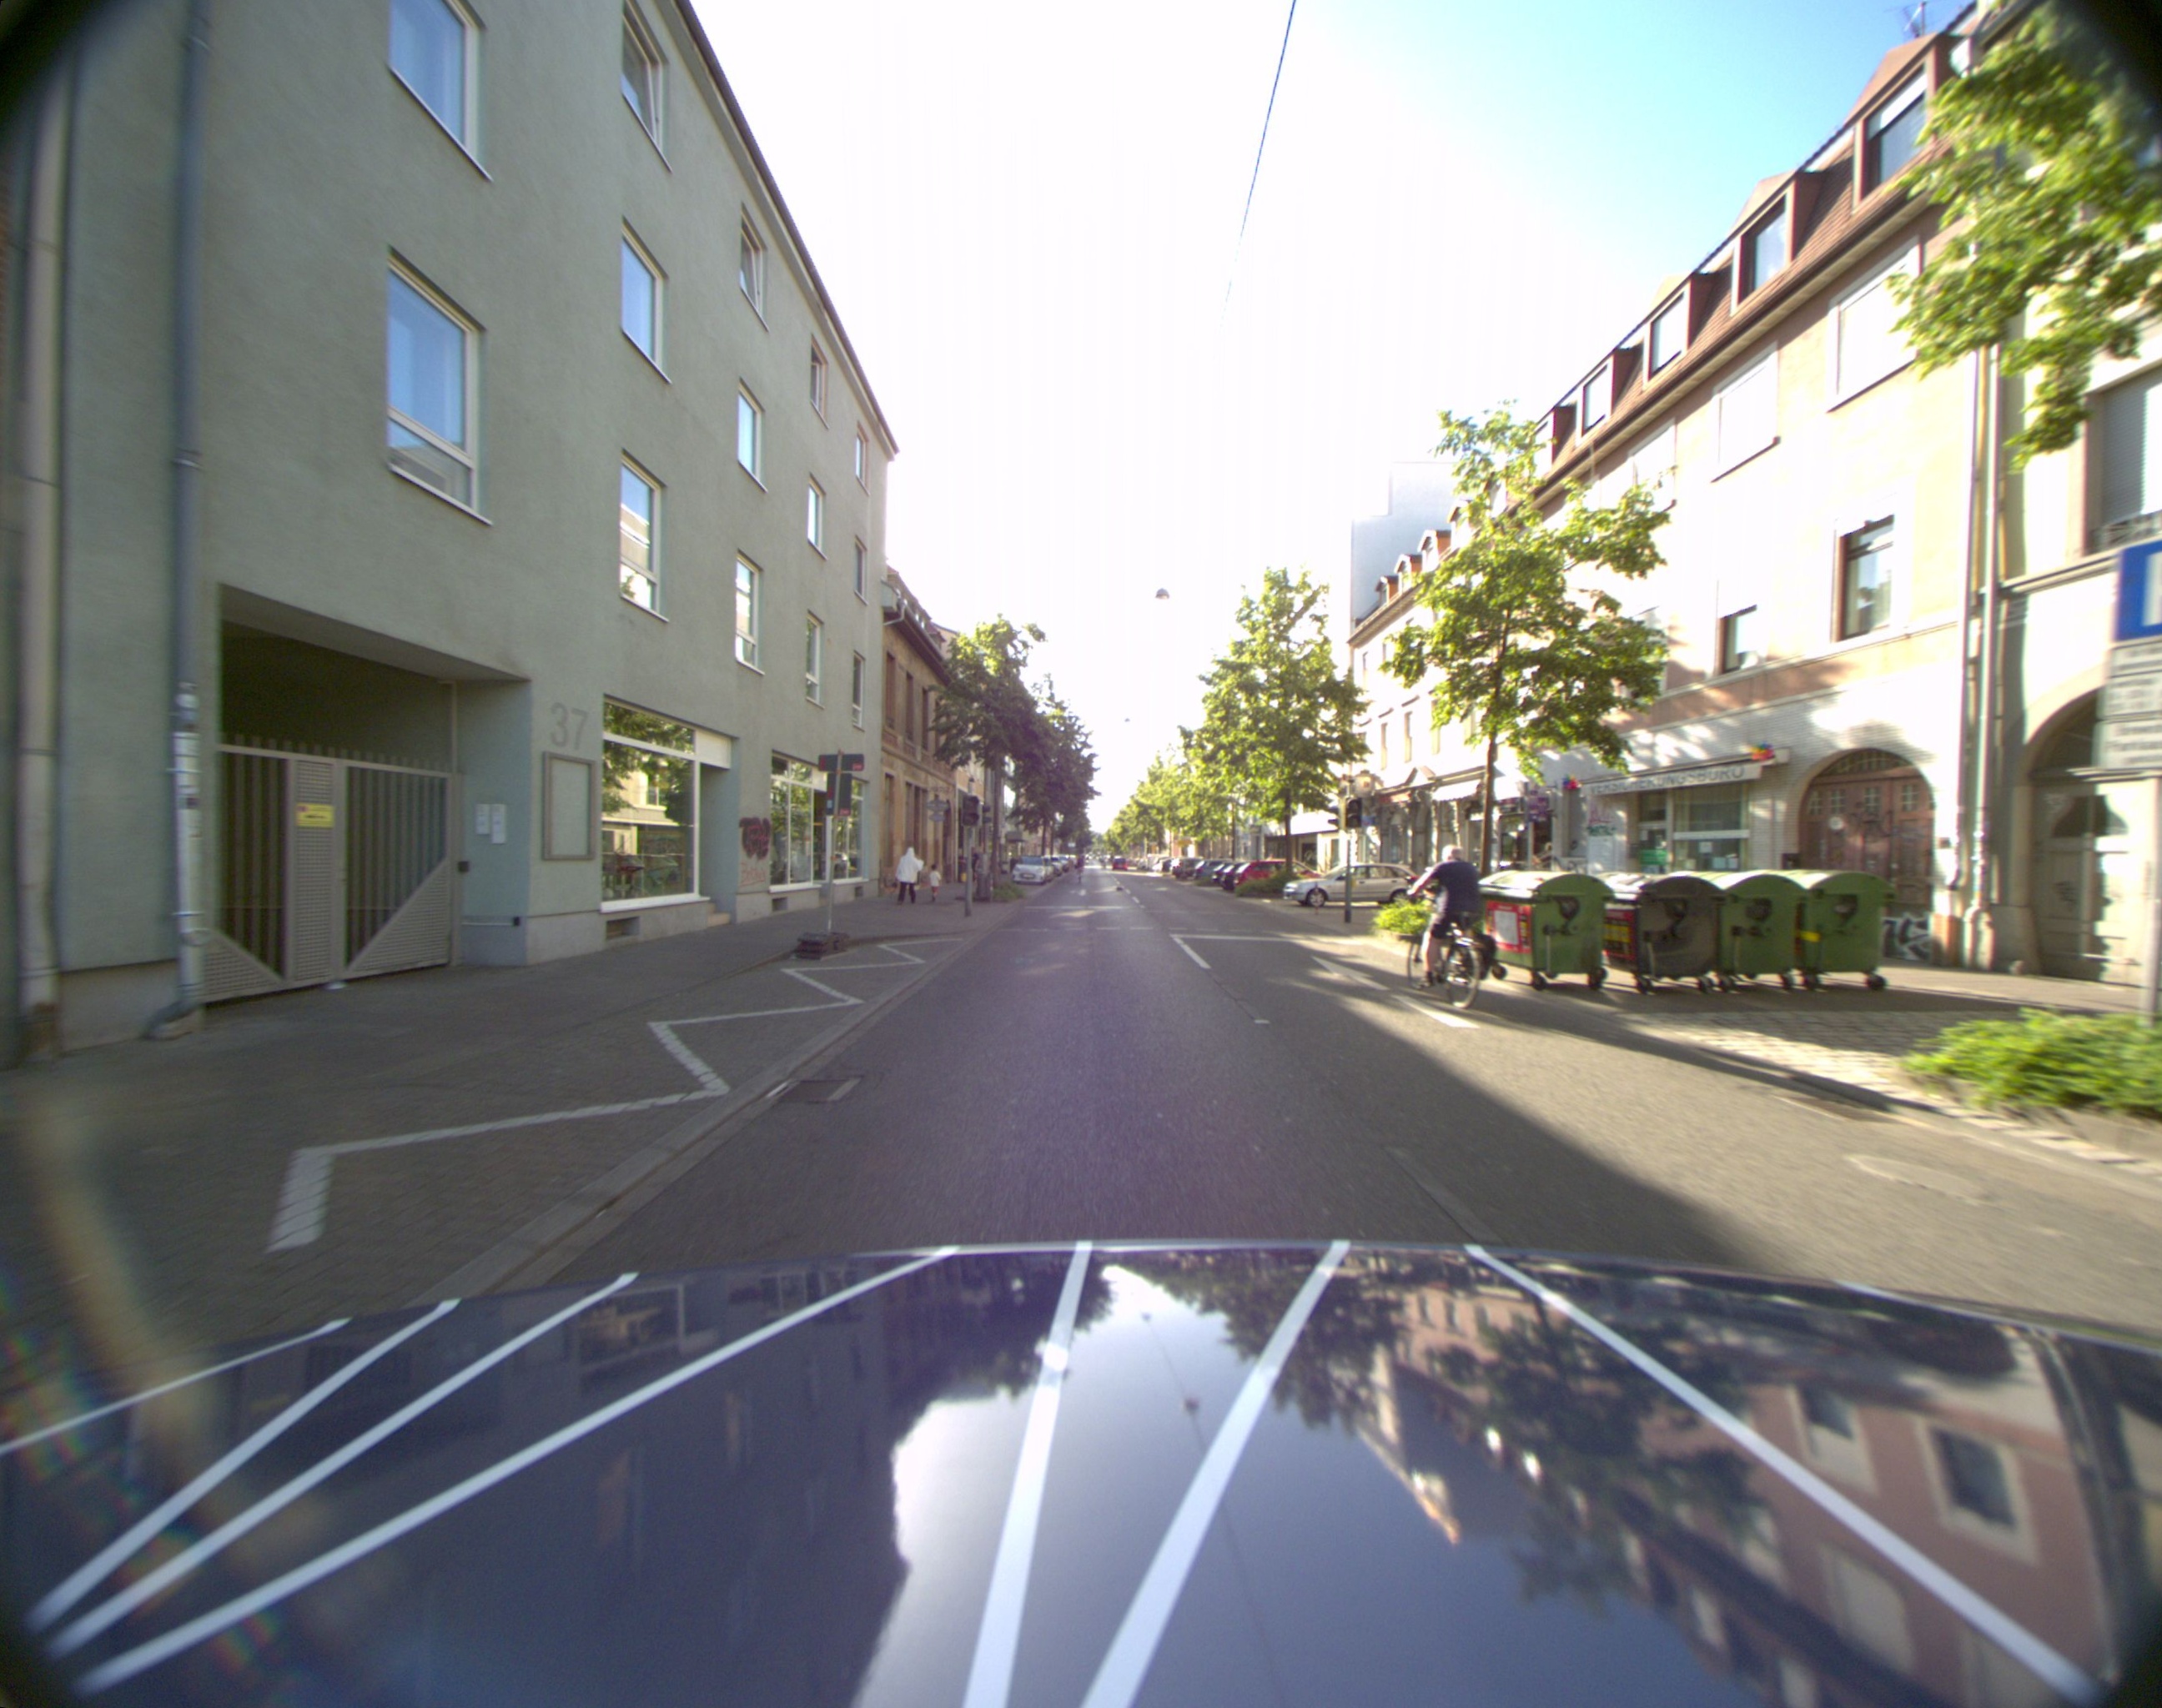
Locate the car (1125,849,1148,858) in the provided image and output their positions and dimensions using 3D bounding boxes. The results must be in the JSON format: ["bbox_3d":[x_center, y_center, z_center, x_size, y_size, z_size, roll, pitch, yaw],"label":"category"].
[{"bbox_3d":[10.183,-0.155,139.552,4.134,1.670,2.000,0,1,0],"label":"car"}]

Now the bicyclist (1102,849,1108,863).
[{"bbox_3d":[3.015,0.225,94.246,0.727,1.690,1.282,0,1,1],"label":"bicyclist"}]

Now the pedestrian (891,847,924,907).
[{"bbox_3d":[-4.654,0.594,20.461,0.582,1.550,1.020,3,1,0],"label":"pedestrian"}]

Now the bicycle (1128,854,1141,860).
[{"bbox_3d":[8.482,0.456,120.683,2.006,1.023,0.473,-1,1,-12],"label":"bicycle"}]

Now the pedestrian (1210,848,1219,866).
[{"bbox_3d":[11.952,0.270,67.894,0.566,1.617,0.727,-4,1,-1],"label":"pedestrian"}]

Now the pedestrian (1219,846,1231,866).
[{"bbox_3d":[12.841,0.145,67.909,0.776,1.756,0.763,-4,1,-1],"label":"pedestrian"}]

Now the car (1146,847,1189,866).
[{"bbox_3d":[8.759,0.261,77.293,4.115,1.825,2.038,-1,0,1],"label":"car"}]

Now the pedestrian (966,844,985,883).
[{"bbox_3d":[-4.813,0.432,34.713,0.624,1.755,0.771,3,1,2],"label":"pedestrian"}]

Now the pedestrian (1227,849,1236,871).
[{"bbox_3d":[12.738,0.499,64.286,0.700,1.787,0.746,0,1,12],"label":"pedestrian"}]

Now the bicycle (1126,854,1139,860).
[{"bbox_3d":[8.274,0.466,121.598,2.006,1.023,0.473,-1,1,-12],"label":"bicycle"}]

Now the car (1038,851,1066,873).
[{"bbox_3d":[-2.179,0.587,58.518,1.887,1.518,4.233,3,0,0],"label":"car"}]

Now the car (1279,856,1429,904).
[{"bbox_3d":[8.673,0.821,24.424,4.212,1.460,1.740,0,0,3],"label":"car"}]

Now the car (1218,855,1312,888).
[{"bbox_3d":[8.278,0.787,34.449,3.850,1.420,1.790,0,0,2],"label":"car"}]

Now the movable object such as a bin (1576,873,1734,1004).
[{"bbox_3d":[7.009,0.992,9.358,1.045,1.463,1.143,1,1,0],"label":"movable object such as a bin"}]

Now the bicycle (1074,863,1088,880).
[{"bbox_3d":[-0.014,1.032,45.861,0.805,0.958,1.996,-1,0,0],"label":"bicycle"}]

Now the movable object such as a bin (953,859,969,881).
[{"bbox_3d":[-5.737,0.765,36.342,0.590,1.034,0.722,3,1,2],"label":"movable object such as a bin"}]

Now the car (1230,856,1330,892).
[{"bbox_3d":[8.292,0.811,31.896,3.757,1.460,1.739,0,0,1],"label":"car"}]

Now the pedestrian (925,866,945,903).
[{"bbox_3d":[-4.291,0.882,22.331,0.394,1.027,0.739,3,1,0],"label":"pedestrian"}]

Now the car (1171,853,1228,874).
[{"bbox_3d":[8.455,0.674,54.336,3.790,1.450,1.780,0,0,-2],"label":"car"}]

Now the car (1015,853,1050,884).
[{"bbox_3d":[-2.527,0.736,40.400,1.618,1.520,3.060,2,1,0],"label":"car"}]

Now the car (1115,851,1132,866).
[{"bbox_3d":[4.567,0.519,82.128,1.662,1.526,3.760,2,0,1],"label":"car"}]

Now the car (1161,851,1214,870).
[{"bbox_3d":[9.209,0.561,65.845,4.377,1.561,1.980,0,0,1],"label":"car"}]

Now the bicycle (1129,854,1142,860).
[{"bbox_3d":[8.590,0.469,120.195,2.006,1.023,0.473,-1,1,-12],"label":"bicycle"}]

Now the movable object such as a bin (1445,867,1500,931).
[{"bbox_3d":[8.499,0.953,16.509,0.756,1.333,0.805,1,1,0],"label":"movable object such as a bin"}]

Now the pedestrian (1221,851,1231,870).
[{"bbox_3d":[11.842,0.512,61.989,0.594,1.485,0.842,-2,1,2],"label":"pedestrian"}]

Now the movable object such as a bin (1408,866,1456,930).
[{"bbox_3d":[7.628,0.933,16.538,0.636,1.333,0.805,1,1,0],"label":"movable object such as a bin"}]

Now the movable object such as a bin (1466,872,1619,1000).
[{"bbox_3d":[5.852,0.991,9.750,1.045,1.463,1.452,1,1,0],"label":"movable object such as a bin"}]

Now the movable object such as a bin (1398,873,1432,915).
[{"bbox_3d":[8.892,1.064,20.231,0.532,1.063,0.805,1,1,0],"label":"movable object such as a bin"}]

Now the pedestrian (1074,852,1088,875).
[{"bbox_3d":[-0.008,0.562,45.820,0.803,1.381,0.931,-1,0,0],"label":"pedestrian"}]

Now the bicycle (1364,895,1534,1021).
[{"bbox_3d":[4.073,1.098,8.627,0.708,1.140,1.965,1,1,-9],"label":"bicycle"}]

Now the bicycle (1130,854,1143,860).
[{"bbox_3d":[8.694,0.476,119.668,2.006,1.023,0.473,-1,1,-12],"label":"bicycle"}]

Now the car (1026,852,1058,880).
[{"bbox_3d":[-2.318,0.722,46.444,1.618,1.520,4.234,4,0,0],"label":"car"}]

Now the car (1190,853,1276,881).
[{"bbox_3d":[8.654,0.739,43.455,4.505,1.450,1.790,-1,1,-1],"label":"car"}]

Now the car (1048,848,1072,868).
[{"bbox_3d":[-1.974,0.351,72.391,1.998,1.680,4.516,4,0,0],"label":"car"}]

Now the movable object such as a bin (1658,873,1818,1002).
[{"bbox_3d":[8.109,0.994,9.447,0.966,1.463,1.143,1,1,0],"label":"movable object such as a bin"}]

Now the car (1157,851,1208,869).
[{"bbox_3d":[9.087,0.546,68.336,4.377,1.561,1.946,0,0,1],"label":"car"}]

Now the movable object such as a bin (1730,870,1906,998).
[{"bbox_3d":[9.149,0.955,9.501,1.045,1.463,1.143,1,1,0],"label":"movable object such as a bin"}]

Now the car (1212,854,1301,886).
[{"bbox_3d":[8.480,0.763,36.946,3.928,1.477,1.771,0,0,2],"label":"car"}]

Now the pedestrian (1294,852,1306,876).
[{"bbox_3d":[12.726,0.587,44.243,0.509,1.400,0.825,-1,0,5],"label":"pedestrian"}]

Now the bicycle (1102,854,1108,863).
[{"bbox_3d":[3.012,0.575,94.268,0.727,1.162,2.197,0,0,1],"label":"bicycle"}]

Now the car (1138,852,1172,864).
[{"bbox_3d":[8.800,0.474,90.148,3.788,1.455,1.710,-1,0,-2],"label":"car"}]

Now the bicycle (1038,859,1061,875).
[{"bbox_3d":[-2.288,0.965,55.590,1.626,1.007,0.611,5,1,-1],"label":"bicycle"}]

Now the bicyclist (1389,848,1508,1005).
[{"bbox_3d":[4.085,0.759,8.513,0.699,1.643,1.035,1,1,-10],"label":"bicyclist"}]

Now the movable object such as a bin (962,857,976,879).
[{"bbox_3d":[-5.566,0.679,37.745,0.523,1.034,0.722,3,1,2],"label":"movable object such as a bin"}]

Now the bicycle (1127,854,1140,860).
[{"bbox_3d":[8.366,0.470,121.174,2.006,1.023,0.473,-1,1,-12],"label":"bicycle"}]

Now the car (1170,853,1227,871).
[{"bbox_3d":[9.404,0.611,61.171,4.257,1.450,1.979,0,0,-3],"label":"car"}]
